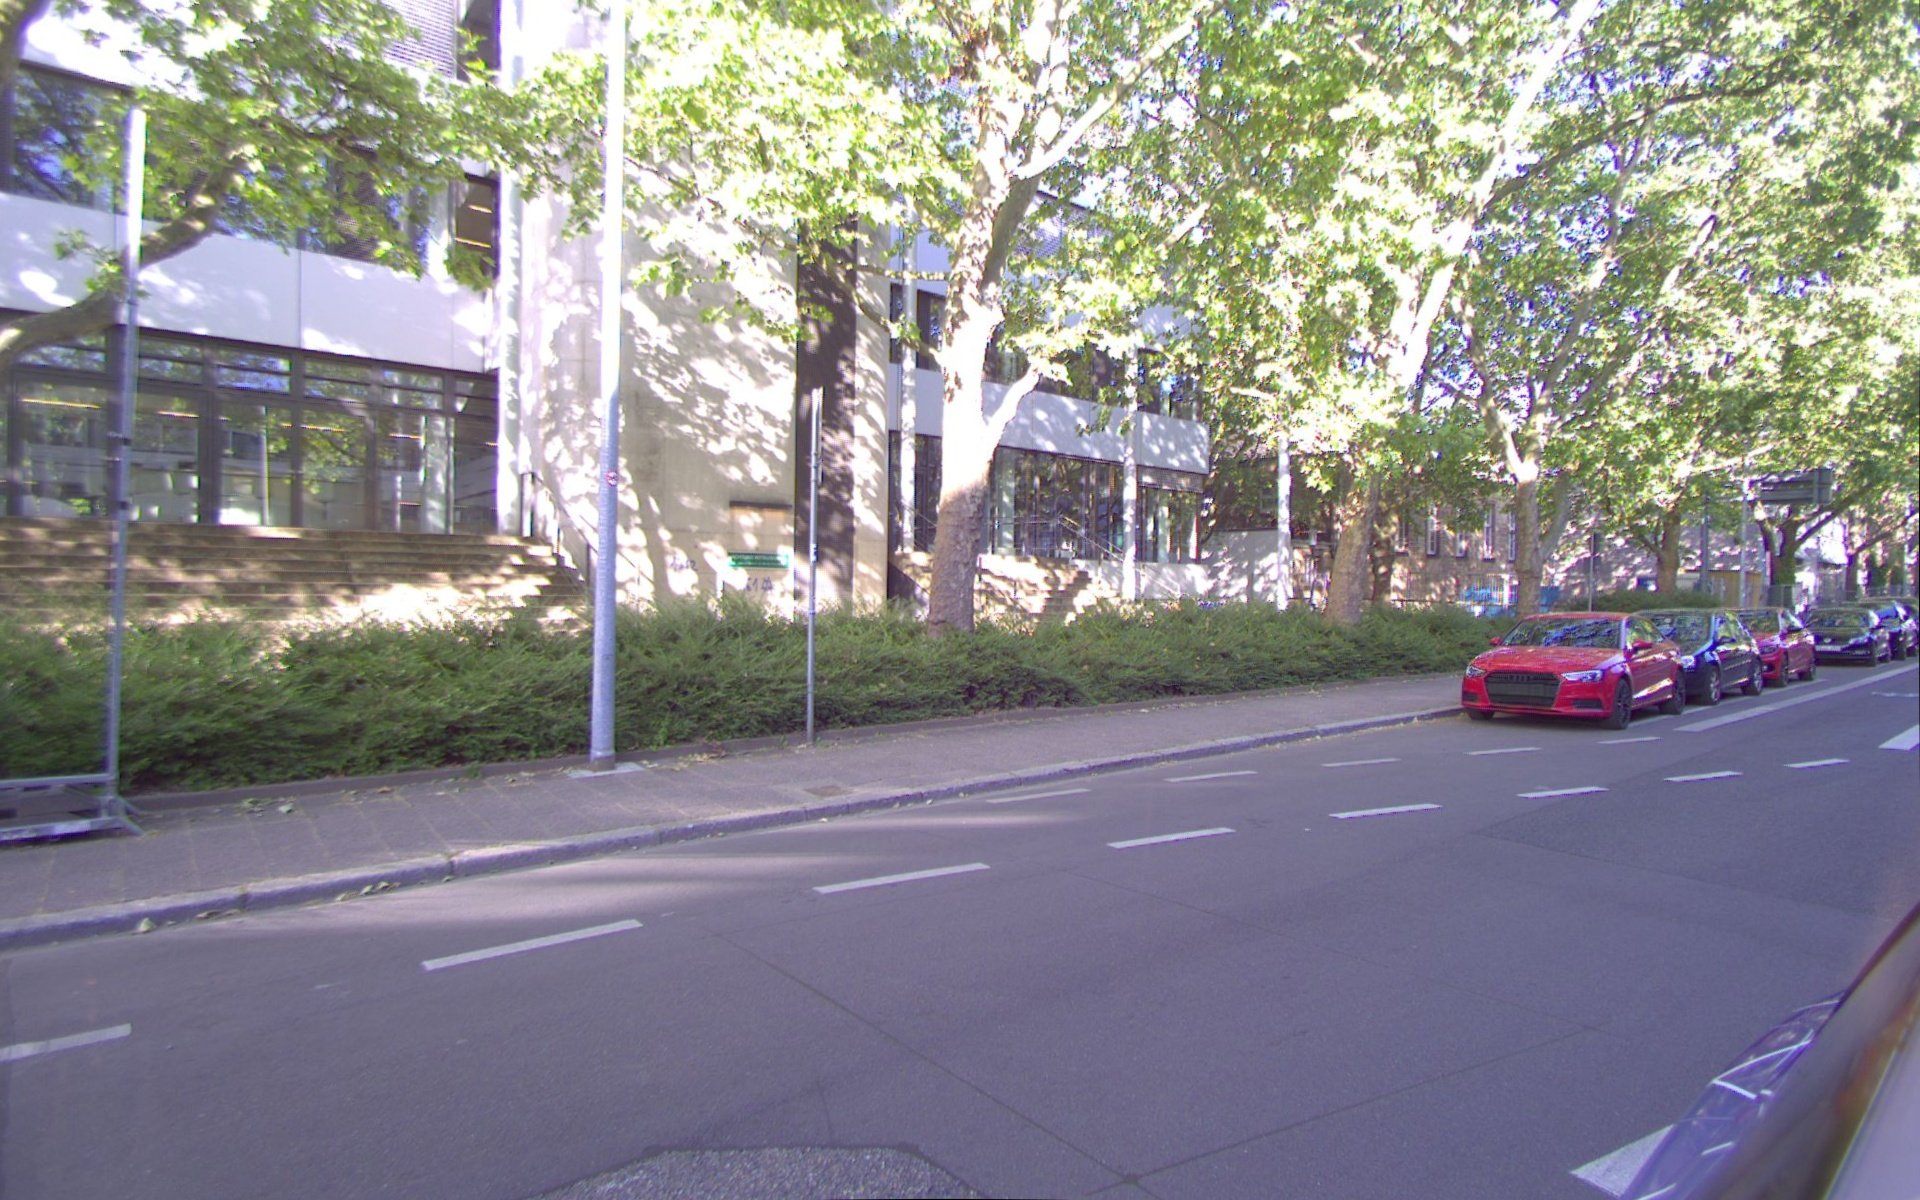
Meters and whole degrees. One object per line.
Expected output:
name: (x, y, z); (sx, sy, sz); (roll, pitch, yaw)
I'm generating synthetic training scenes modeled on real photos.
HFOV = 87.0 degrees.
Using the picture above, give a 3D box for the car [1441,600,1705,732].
car: (8.266, 0.751, 13.524); (3.930, 1.443, 1.906); (-1, 1, -41)

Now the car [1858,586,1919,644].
car: (31.273, 0.451, 33.311); (4.493, 1.809, 1.997); (-1, 0, -41)

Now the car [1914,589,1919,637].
car: (39.635, 0.486, 40.310); (3.930, 1.872, 1.997); (-1, 0, -41)

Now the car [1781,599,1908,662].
car: (22.809, 0.723, 26.061); (3.527, 1.474, 1.997); (-1, 1, -41)

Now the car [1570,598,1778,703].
car: (11.778, 0.728, 16.642); (3.581, 1.478, 1.997); (-1, 1, -41)

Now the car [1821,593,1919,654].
car: (26.533, 0.609, 29.181); (4.070, 1.621, 1.997); (-1, 0, -41)

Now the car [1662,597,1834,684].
car: (15.655, 0.718, 20.052); (3.762, 1.517, 1.997); (-1, 1, -41)

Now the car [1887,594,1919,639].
car: (35.976, 0.571, 37.447); (4.070, 1.585, 1.997); (-1, 0, -41)
